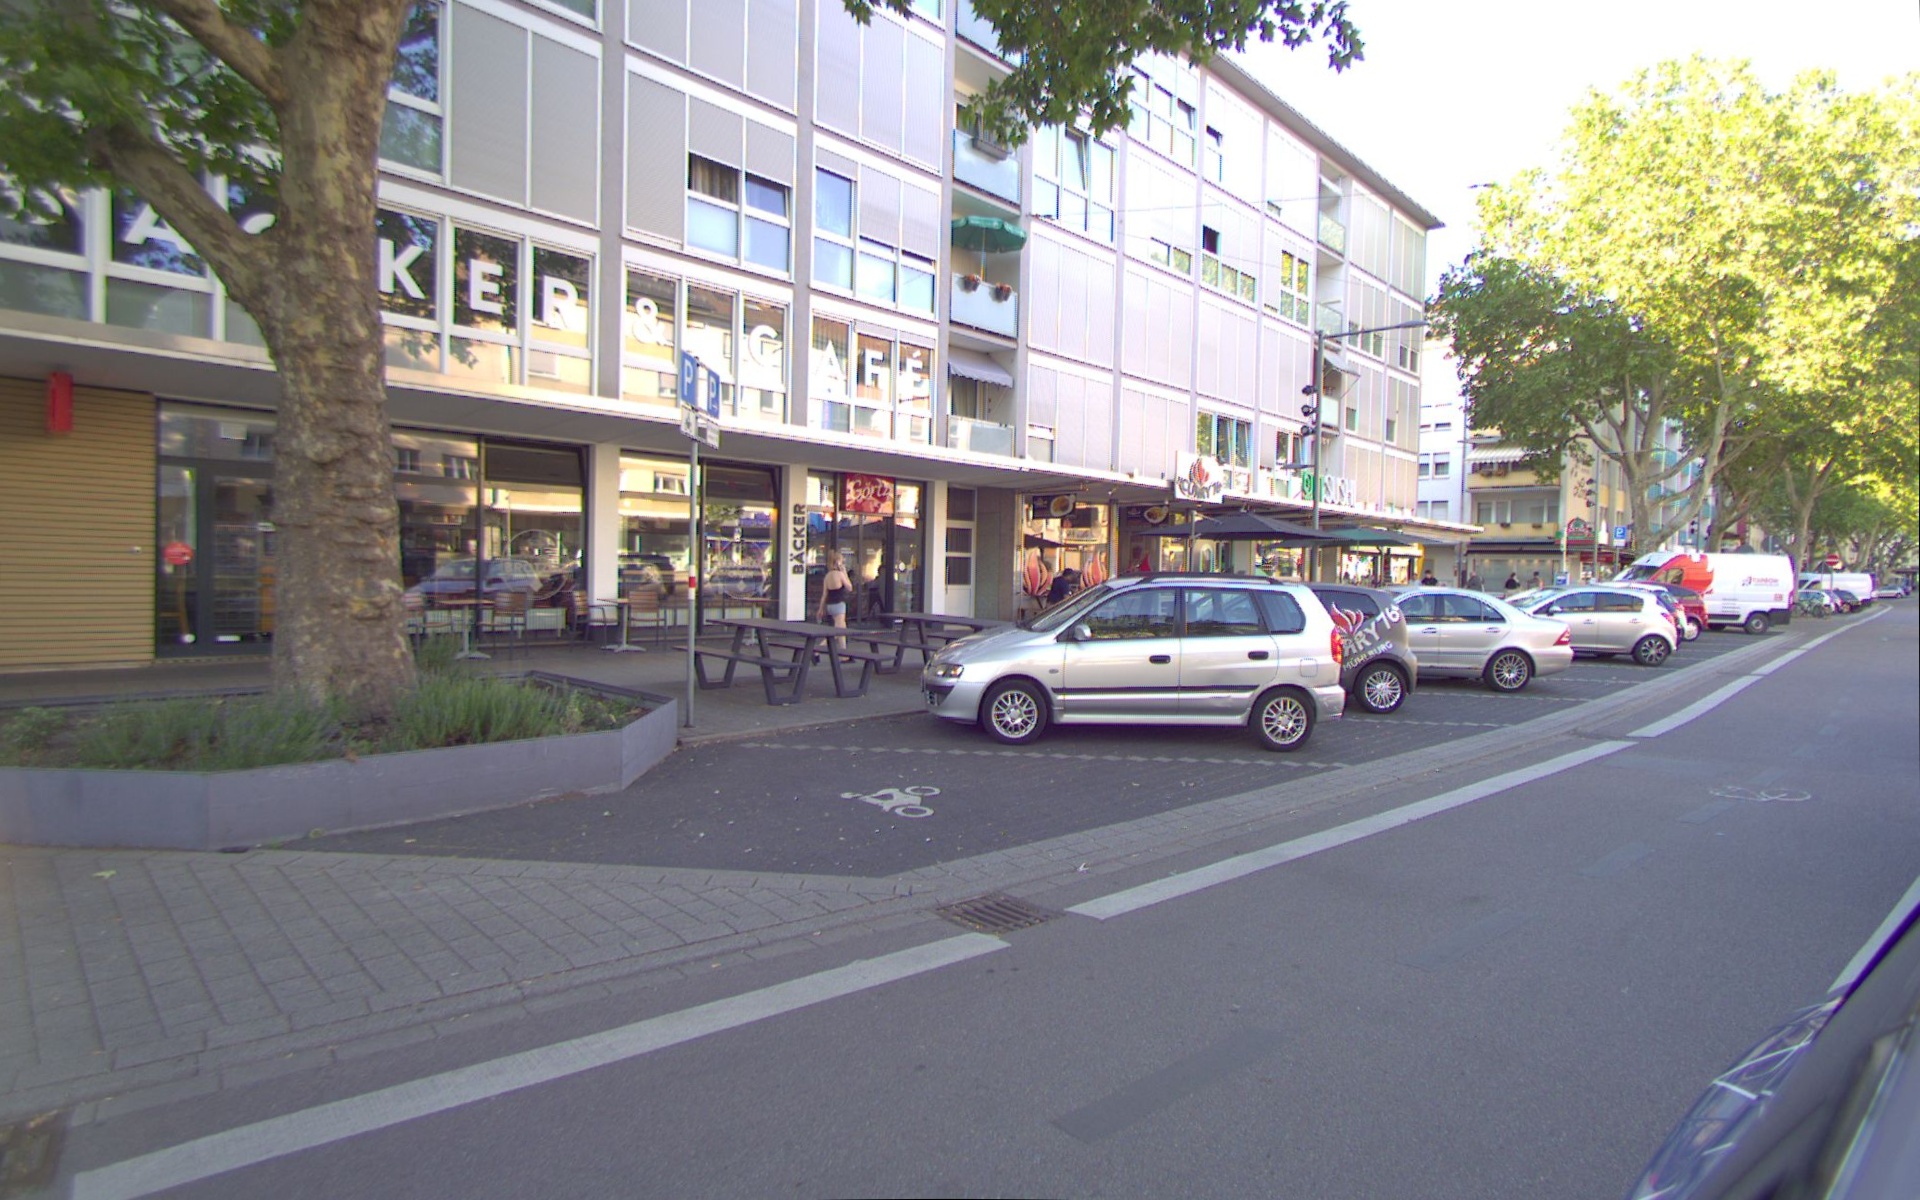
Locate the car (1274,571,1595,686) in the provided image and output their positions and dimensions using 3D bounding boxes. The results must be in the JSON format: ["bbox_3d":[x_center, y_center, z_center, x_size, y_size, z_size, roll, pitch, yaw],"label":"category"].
[{"bbox_3d":[6.819,0.376,14.827,3.867,1.418,1.598,2,3,1],"label":"car"}]

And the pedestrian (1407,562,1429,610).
[{"bbox_3d":[16.045,-0.495,35.446,0.536,1.660,0.470,2,2,45],"label":"pedestrian"}]

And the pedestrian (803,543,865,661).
[{"bbox_3d":[-1.752,0.014,14.082,0.559,1.596,0.632,2,2,44],"label":"pedestrian"}]

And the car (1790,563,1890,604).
[{"bbox_3d":[56.540,-1.076,65.076,4.512,2.499,1.977,1,2,3],"label":"car"}]

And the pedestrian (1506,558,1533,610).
[{"bbox_3d":[21.892,-0.627,39.623,0.746,2.000,0.566,3,2,45],"label":"pedestrian"}]

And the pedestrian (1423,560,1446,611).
[{"bbox_3d":[16.435,-0.508,35.061,0.544,1.741,0.450,2,2,45],"label":"pedestrian"}]

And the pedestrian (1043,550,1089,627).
[{"bbox_3d":[2.243,-0.253,21.376,0.757,1.602,0.583,0,2,-39],"label":"pedestrian"}]

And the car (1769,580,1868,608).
[{"bbox_3d":[48.060,-0.358,56.721,3.864,1.422,1.782,1,2,3],"label":"car"}]

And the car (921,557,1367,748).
[{"bbox_3d":[1.614,0.442,9.821,3.906,1.560,1.679,2,3,-3],"label":"car"}]

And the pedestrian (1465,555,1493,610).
[{"bbox_3d":[19.736,-0.670,38.490,0.746,2.038,0.550,2,2,45],"label":"pedestrian"}]

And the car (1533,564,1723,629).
[{"bbox_3d":[18.046,-0.130,27.556,3.888,1.445,1.669,4,5,17],"label":"car"}]

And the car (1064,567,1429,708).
[{"bbox_3d":[3.349,0.403,12.326,3.864,1.446,1.679,2,3,-3],"label":"car"}]

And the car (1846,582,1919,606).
[{"bbox_3d":[56.277,-0.366,61.078,3.864,1.350,1.782,1,2,3],"label":"car"}]

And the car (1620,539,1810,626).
[{"bbox_3d":[23.820,-0.574,32.069,4.514,2.525,1.675,2,1,5],"label":"car"}]

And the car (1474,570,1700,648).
[{"bbox_3d":[13.943,0.149,22.749,3.886,1.446,1.670,3,3,16],"label":"car"}]

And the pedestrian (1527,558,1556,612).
[{"bbox_3d":[22.402,-0.587,38.977,0.746,2.038,0.752,2,2,45],"label":"pedestrian"}]

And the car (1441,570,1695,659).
[{"bbox_3d":[11.783,0.243,19.823,3.871,1.446,1.559,3,3,4],"label":"car"}]

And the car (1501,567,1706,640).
[{"bbox_3d":[15.908,0.042,25.244,3.888,1.445,1.669,4,5,17],"label":"car"}]
